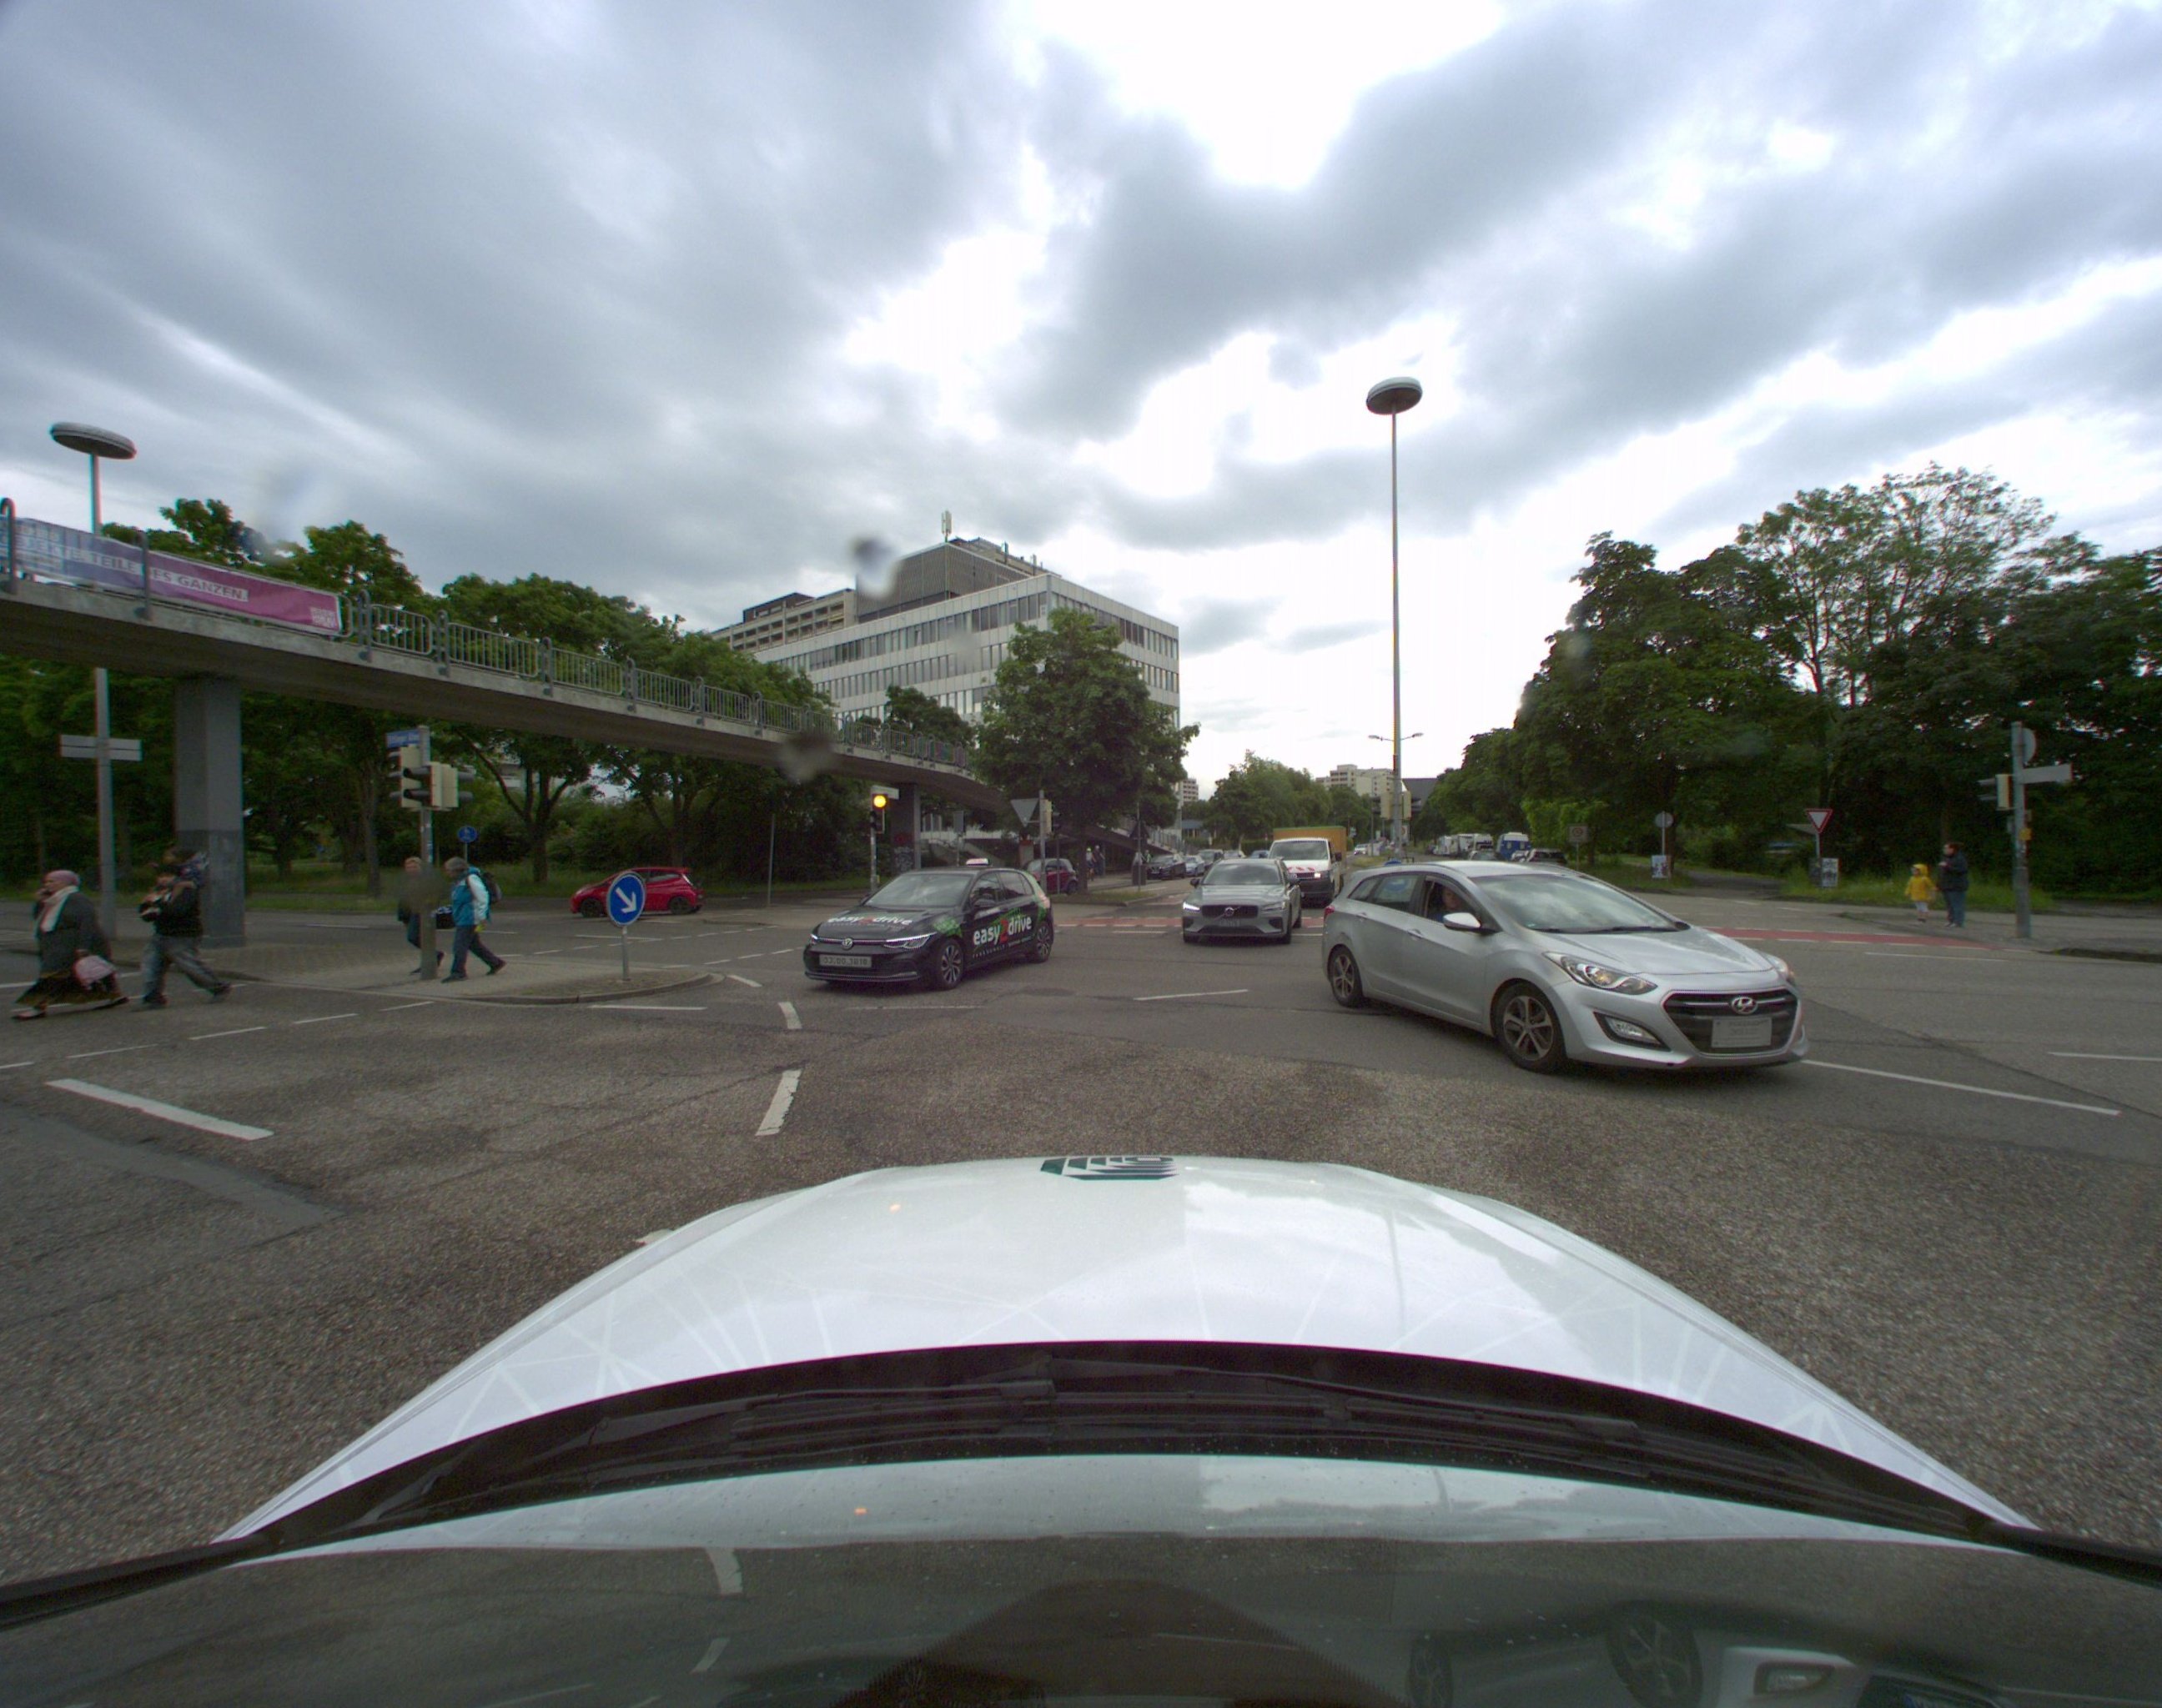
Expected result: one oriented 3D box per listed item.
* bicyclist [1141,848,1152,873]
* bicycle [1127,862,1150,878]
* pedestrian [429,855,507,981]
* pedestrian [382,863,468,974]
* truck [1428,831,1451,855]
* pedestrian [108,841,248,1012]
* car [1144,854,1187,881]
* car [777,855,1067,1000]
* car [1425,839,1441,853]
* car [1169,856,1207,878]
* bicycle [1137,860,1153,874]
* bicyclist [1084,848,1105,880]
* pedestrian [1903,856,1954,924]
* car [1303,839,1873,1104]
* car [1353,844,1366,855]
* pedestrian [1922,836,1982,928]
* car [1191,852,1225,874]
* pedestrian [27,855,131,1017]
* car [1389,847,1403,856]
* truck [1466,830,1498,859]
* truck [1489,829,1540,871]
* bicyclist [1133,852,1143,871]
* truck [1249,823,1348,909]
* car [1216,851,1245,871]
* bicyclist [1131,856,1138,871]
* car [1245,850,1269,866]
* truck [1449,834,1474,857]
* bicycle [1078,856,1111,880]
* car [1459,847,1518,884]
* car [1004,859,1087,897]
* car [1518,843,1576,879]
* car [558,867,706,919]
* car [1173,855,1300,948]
[{"bbox_3d":[4.437,0.433,55.191,0.560,1.644,0.534,-1,-1,24],"label":"bicyclist"},{"bbox_3d":[3.687,1.011,51.718,0.755,0.949,1.965,-1,0,26],"label":"bicycle"},{"bbox_3d":[-8.099,0.828,10.768,0.682,1.604,0.490,-1,0,15],"label":"pedestrian"},{"bbox_3d":[-9.197,0.894,11.430,0.912,1.511,0.405,-1,0,9],"label":"pedestrian"},{"bbox_3d":[46.291,-1.407,105.279,1.978,3.009,5.797,-1,0,17],"label":"truck"},{"bbox_3d":[-9.980,0.764,9.026,0.632,1.803,0.805,-1,0,11],"label":"pedestrian"},{"bbox_3d":[5.272,0.832,50.363,1.657,1.552,3.912,-1,0,21],"label":"car"},{"bbox_3d":[-1.823,0.790,10.957,1.755,1.477,4.412,-1,0,20],"label":"car"},{"bbox_3d":[51.958,-1.229,120.349,1.639,1.918,3.936,-1,1,16],"label":"car"},{"bbox_3d":[7.317,0.838,55.497,1.657,1.387,3.915,-1,0,21],"label":"car"},{"bbox_3d":[4.315,0.865,54.842,0.521,0.949,1.719,-1,0,25],"label":"bicycle"},{"bbox_3d":[0.805,0.579,48.807,0.848,1.892,1.134,-1,1,22],"label":"bicyclist"},{"bbox_3d":[17.044,0.719,16.392,0.522,1.342,0.527,-1,0,20],"label":"pedestrian"},{"bbox_3d":[3.682,0.674,7.023,1.789,1.519,4.311,-1,0,-9],"label":"car"},{"bbox_3d":[42.801,-0.698,125.087,1.630,1.593,4.021,-1,0,22],"label":"car"},{"bbox_3d":[16.891,0.535,15.806,0.651,1.750,0.461,-1,0,20],"label":"pedestrian"},{"bbox_3d":[9.448,0.623,60.420,1.657,1.552,3.781,-1,0,21],"label":"car"},{"bbox_3d":[-10.717,0.859,8.717,0.615,1.691,0.406,-1,0,6],"label":"pedestrian"},{"bbox_3d":[51.519,-0.421,133.247,2.003,1.505,4.020,-1,0,20],"label":"car"},{"bbox_3d":[40.732,-0.932,82.848,1.978,2.838,5.756,-1,0,16],"label":"truck"},{"bbox_3d":[29.464,-0.260,55.560,2.156,2.656,6.277,-1,0,20],"label":"truck"},{"bbox_3d":[3.614,0.464,51.452,0.401,1.181,0.379,7,4,22],"label":"bicyclist"},{"bbox_3d":[6.505,0.272,23.811,2.137,2.199,5.871,-1,0,21],"label":"truck"},{"bbox_3d":[12.350,0.559,67.106,1.657,1.552,4.021,-1,0,21],"label":"car"},{"bbox_3d":[4.277,0.740,65.348,0.427,1.217,0.570,-1,-1,19],"label":"bicyclist"},{"bbox_3d":[17.183,0.374,79.340,1.657,1.552,4.021,-1,0,21],"label":"car"},{"bbox_3d":[44.136,-0.935,94.522,1.977,2.572,5.403,-1,0,18],"label":"truck"},{"bbox_3d":[0.822,0.812,48.803,0.848,1.315,3.247,-1,1,22],"label":"bicycle"},{"bbox_3d":[17.801,0.467,35.780,1.783,1.457,4.564,-1,0,20],"label":"car"},{"bbox_3d":[-1.372,0.914,31.799,1.544,1.346,2.990,-1,0,44],"label":"car"},{"bbox_3d":[22.823,0.320,40.011,1.769,1.662,4.020,-1,0,20],"label":"car"},{"bbox_3d":[-13.118,1.107,23.999,3.527,1.390,1.509,-1,0,-15],"label":"car"},{"bbox_3d":[3.089,0.757,15.371,1.882,1.420,4.756,-1,0,16],"label":"car"}]
